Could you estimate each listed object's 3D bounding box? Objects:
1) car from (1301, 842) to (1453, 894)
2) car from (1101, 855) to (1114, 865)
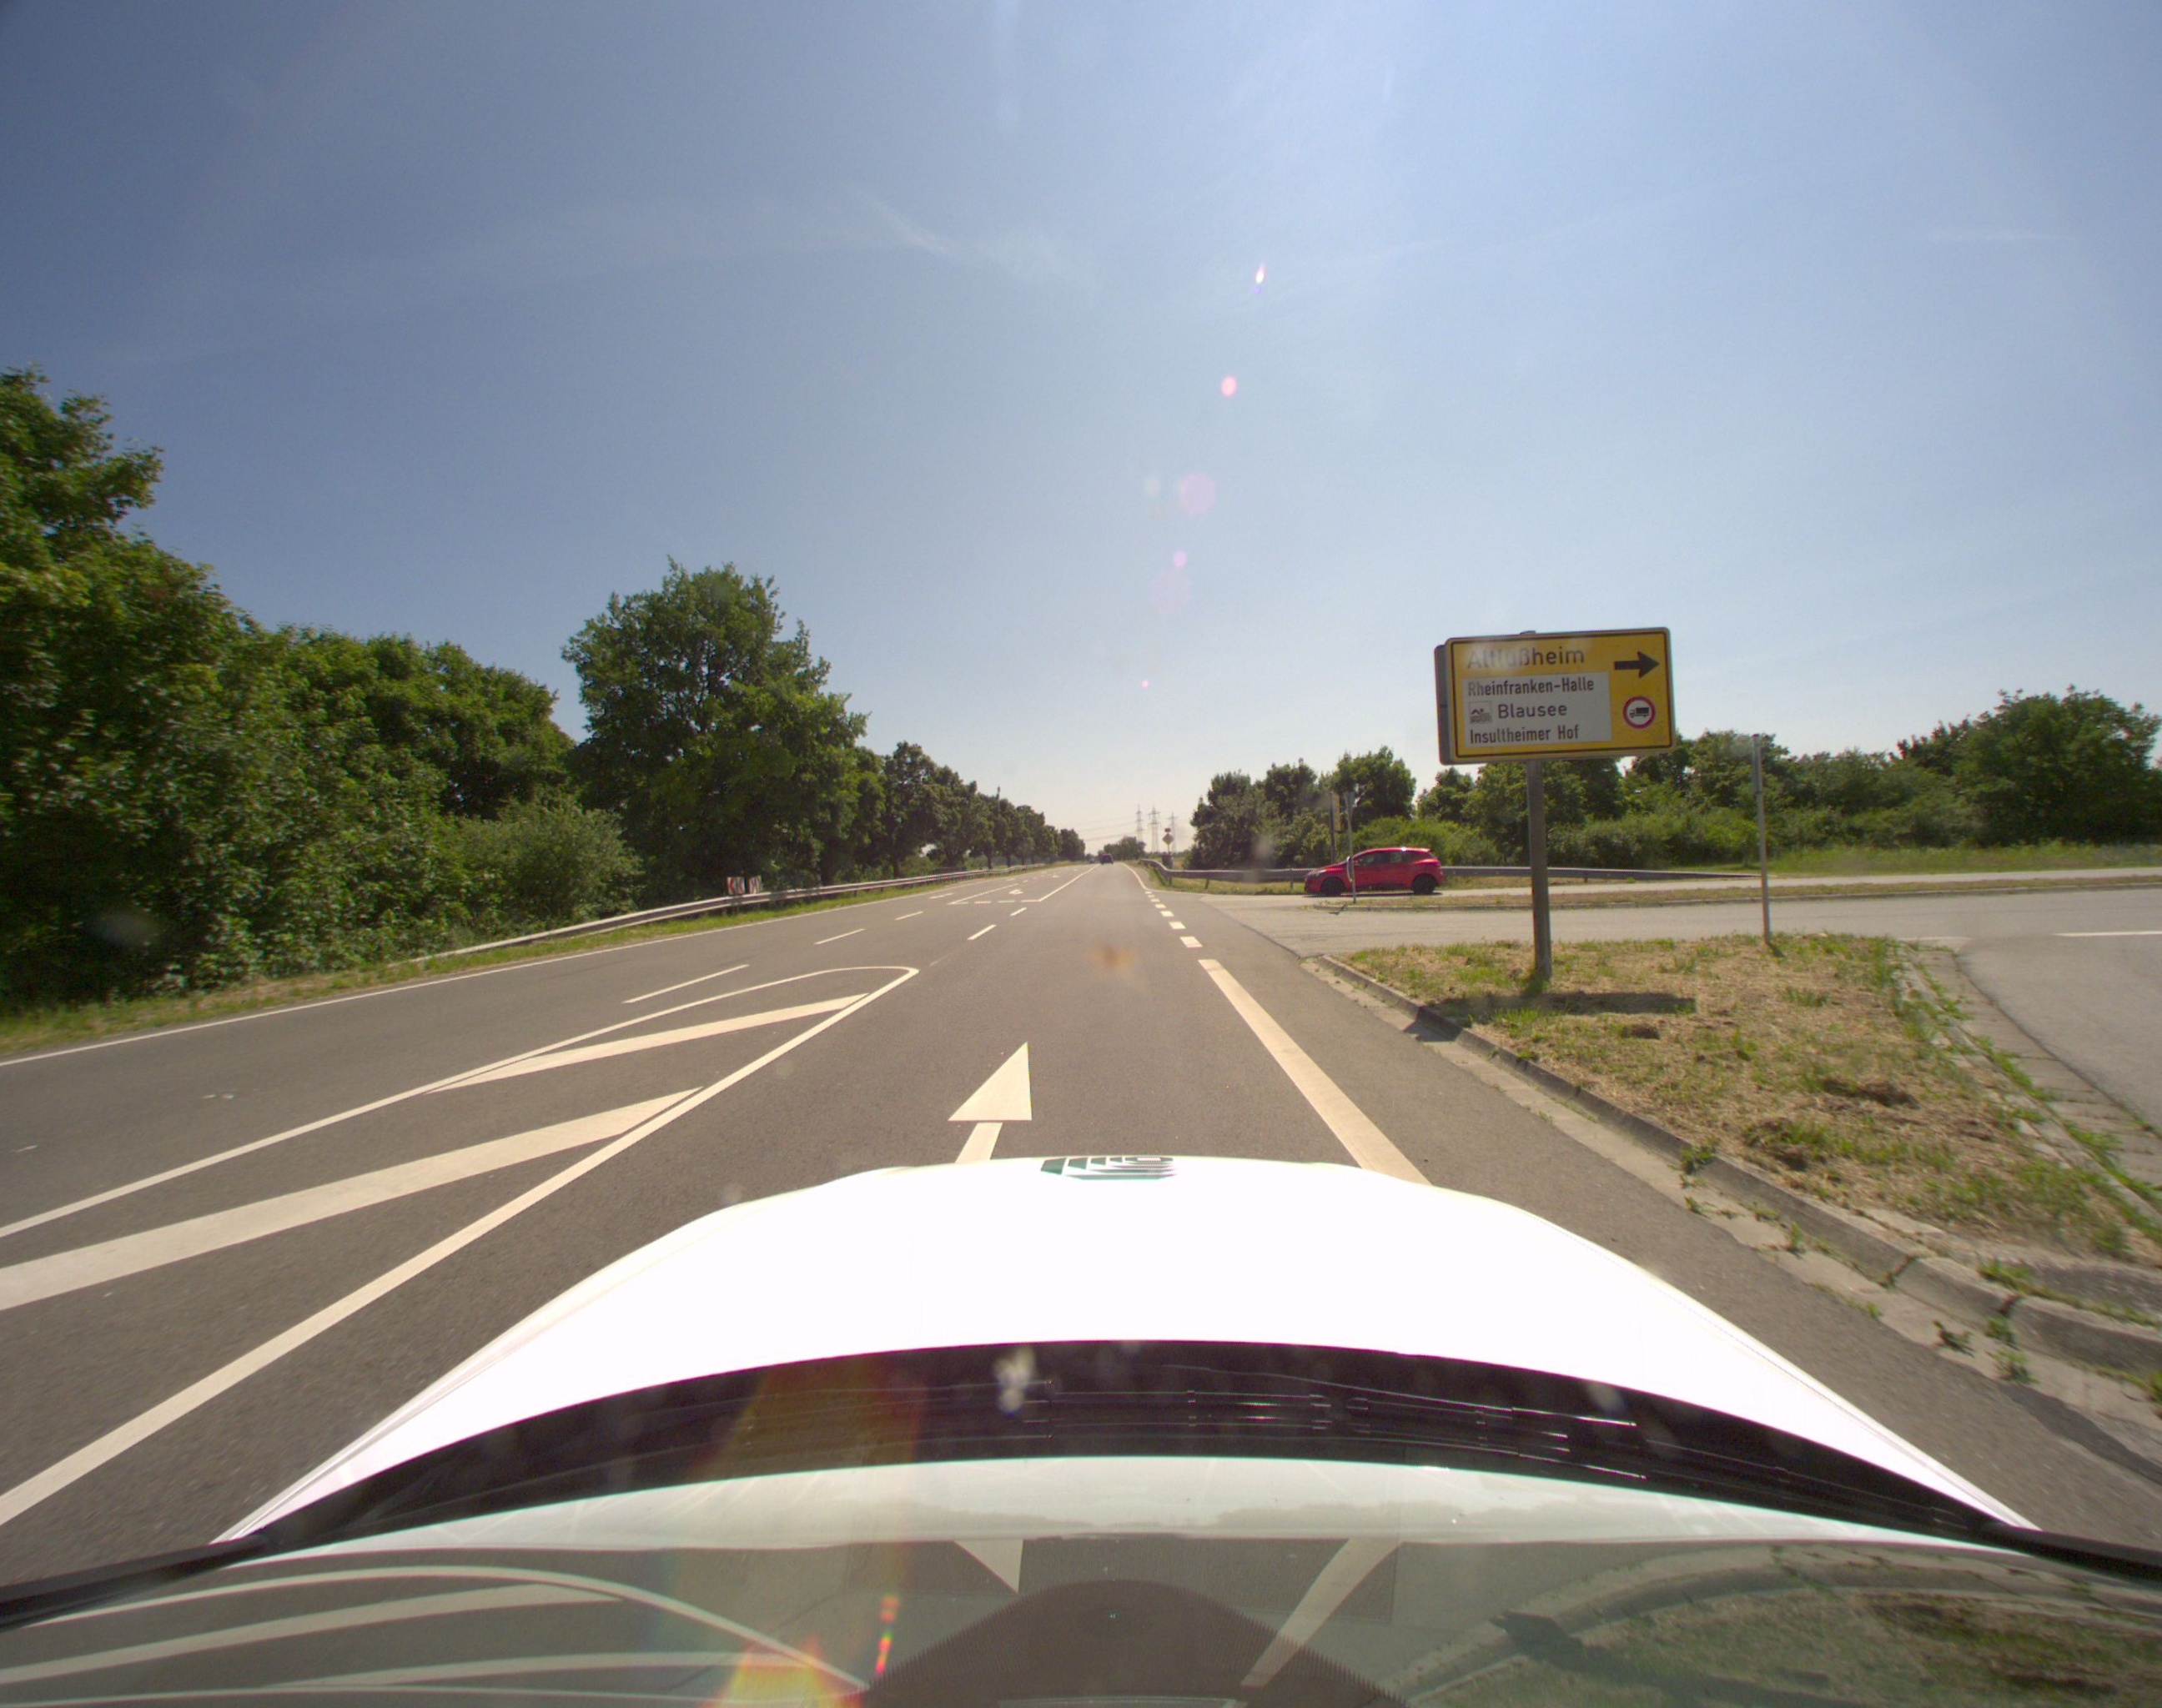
[{"bbox_3d":[8.839,0.423,24.653,4.122,1.418,1.787,-2,-1,15],"label":"car"},{"bbox_3d":[4.335,0.973,133.281,1.878,1.518,4.039,-1,0,0],"label":"car"}]
